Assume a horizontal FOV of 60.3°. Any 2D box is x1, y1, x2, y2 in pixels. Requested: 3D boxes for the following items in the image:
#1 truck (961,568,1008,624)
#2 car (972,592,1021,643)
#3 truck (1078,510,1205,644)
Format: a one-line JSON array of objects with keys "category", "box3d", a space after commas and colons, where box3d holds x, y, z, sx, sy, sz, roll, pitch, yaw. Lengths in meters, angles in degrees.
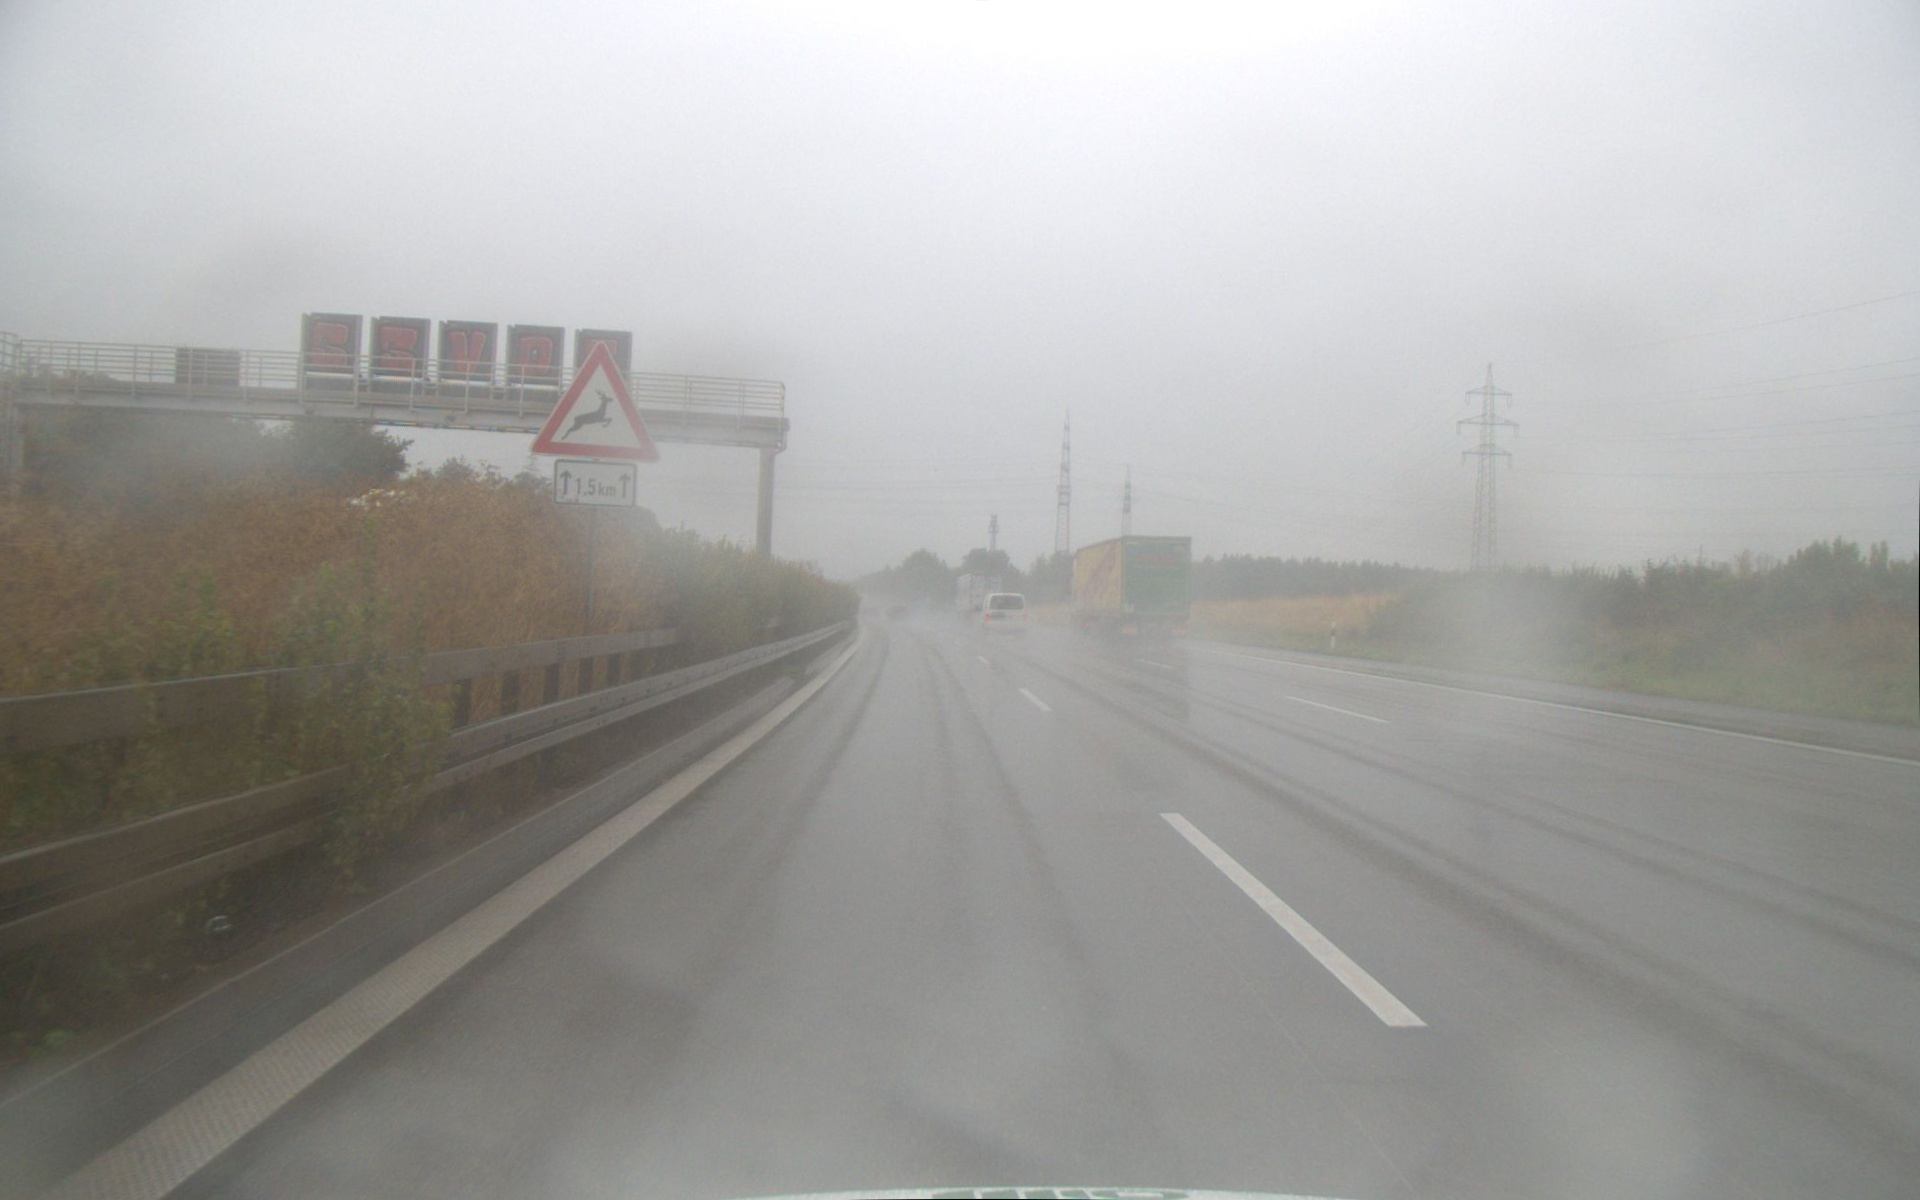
[{"category": "truck", "box3d": [1.924, -0.324, 135.683, 3.168, 4.387, 8.830, 1, 0, -4]}, {"category": "car", "box3d": [1.525, 0.716, 69.938, 1.952, 2.049, 4.000, 1, 0, 1]}, {"category": "truck", "box3d": [7.022, -0.791, 66.961, 4.101, 4.711, 16.110, 1, 0, 3]}]
